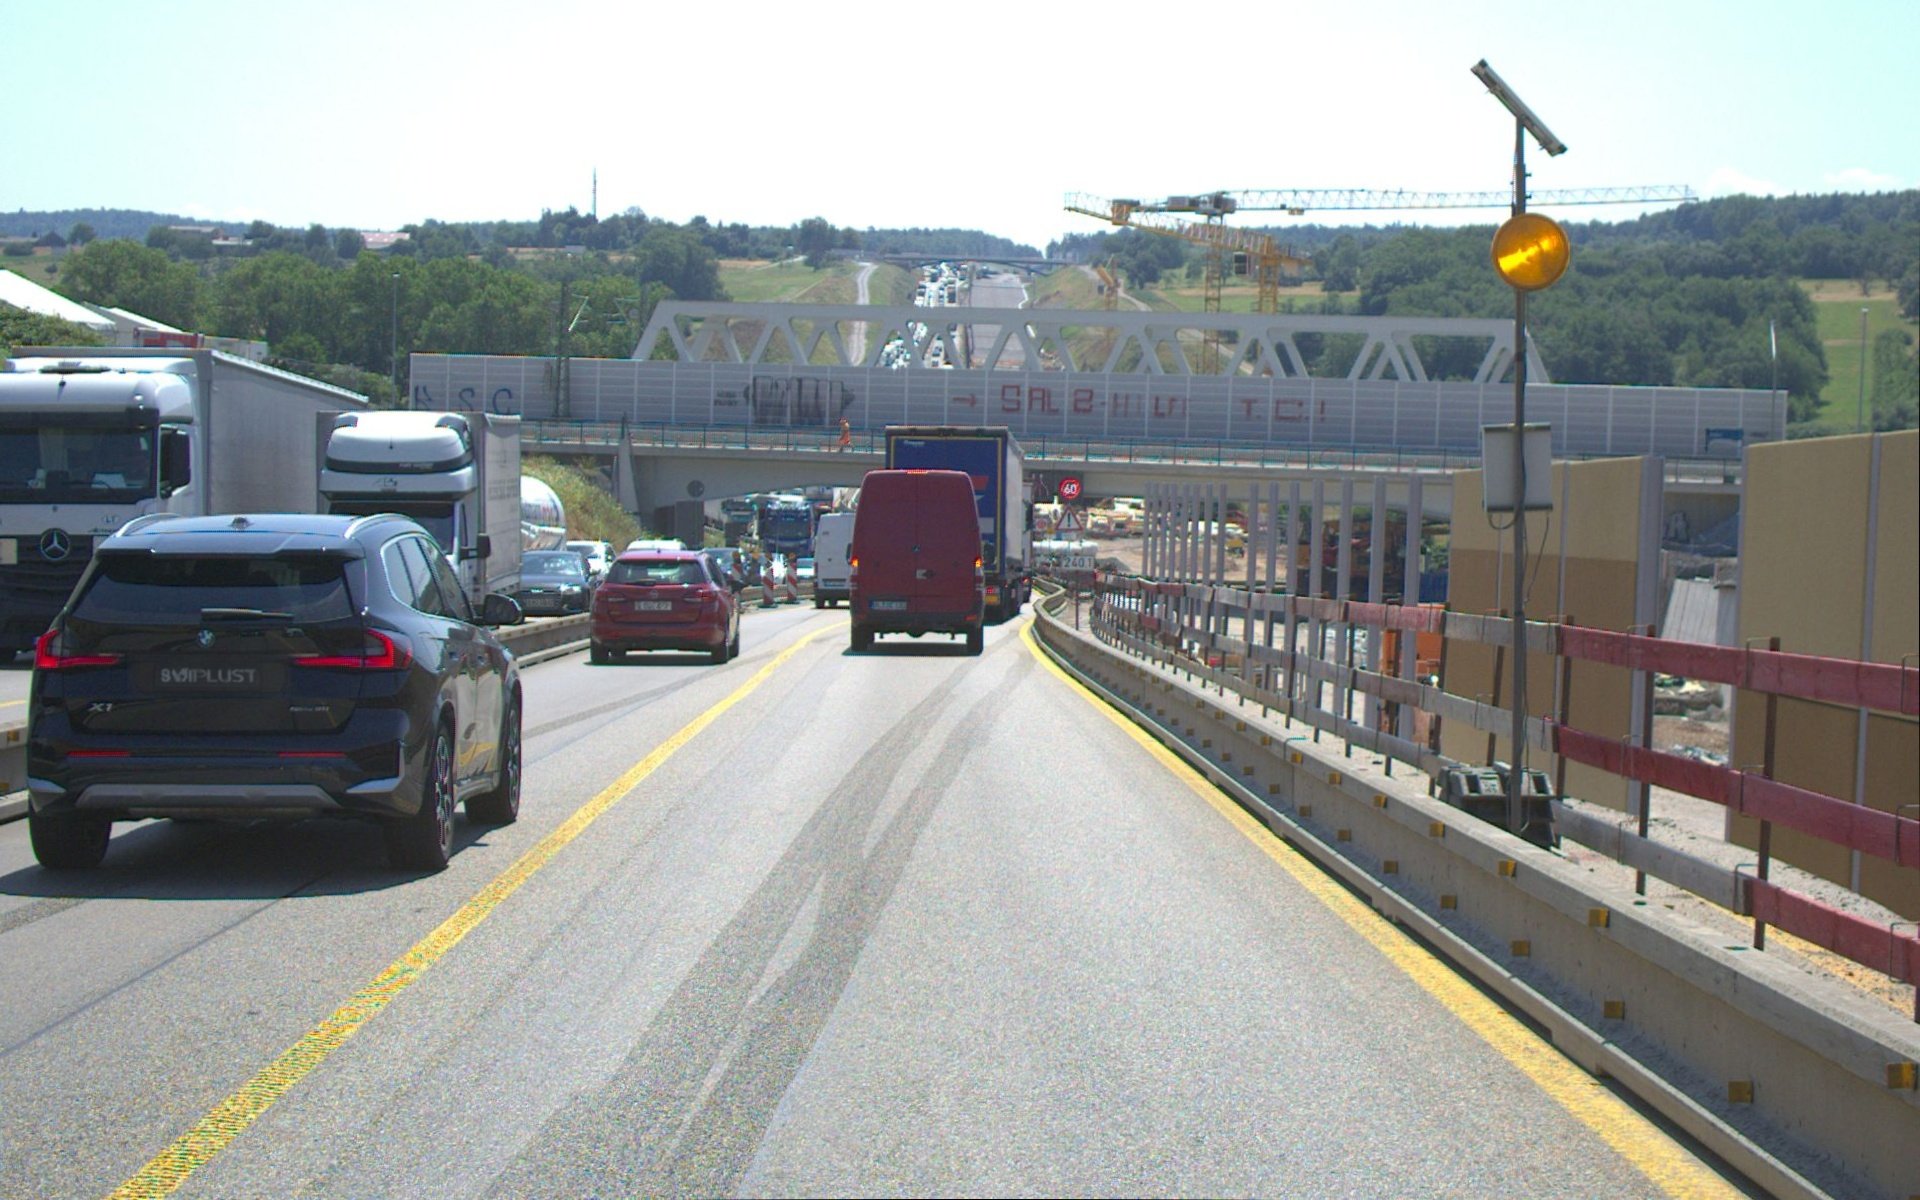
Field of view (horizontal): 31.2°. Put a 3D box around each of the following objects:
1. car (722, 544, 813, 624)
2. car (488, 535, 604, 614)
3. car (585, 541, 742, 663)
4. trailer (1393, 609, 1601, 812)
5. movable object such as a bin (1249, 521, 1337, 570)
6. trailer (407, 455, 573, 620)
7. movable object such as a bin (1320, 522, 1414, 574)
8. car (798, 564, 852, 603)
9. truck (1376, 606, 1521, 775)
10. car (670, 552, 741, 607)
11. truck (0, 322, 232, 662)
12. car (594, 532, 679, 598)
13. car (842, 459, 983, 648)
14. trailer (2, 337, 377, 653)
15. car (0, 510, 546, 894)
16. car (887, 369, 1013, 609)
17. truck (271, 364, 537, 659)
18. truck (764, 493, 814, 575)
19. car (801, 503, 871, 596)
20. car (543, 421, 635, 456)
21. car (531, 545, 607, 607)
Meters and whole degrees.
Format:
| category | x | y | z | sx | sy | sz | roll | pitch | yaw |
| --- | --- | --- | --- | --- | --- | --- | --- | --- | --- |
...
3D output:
| category | x | y | z | sx | sy | sz | roll | pitch | yaw |
| --- | --- | --- | --- | --- | --- | --- | --- | --- | --- |
| car | -4.148 | -0.369 | 74.721 | 1.839 | 1.648 | 4.165 | 0 | 1 | -1 |
| car | -8.119 | -0.517 | 67.753 | 1.779 | 1.453 | 4.721 | 1 | 1 | -1 |
| car | -3.874 | -0.010 | 45.465 | 1.776 | 1.512 | 4.206 | 0 | 1 | -1 |
| trailer | 11.967 | 2.303 | 77.872 | 2.758 | 3.873 | 13.049 | 1 | 1 | 1 |
| movable object such as a bin | 19.842 | -3.230 | 205.147 | 5.147 | 2.798 | 2.142 | 1 | 1 | 5 |
| trailer | -11.650 | -1.575 | 86.258 | 2.590 | 3.788 | 11.918 | 1 | 1 | -1 |
| movable object such as a bin | 22.813 | -2.901 | 192.864 | 5.147 | 2.798 | 2.142 | 1 | 1 | 5 |
| car | -5.327 | -0.662 | 135.913 | 1.800 | 1.442 | 4.637 | 1 | 1 | 2 |
| truck | 12.061 | 2.164 | 85.344 | 2.758 | 3.873 | 5.882 | 1 | 1 | 1 |
| car | -7.765 | -0.650 | 105.192 | 1.791 | 1.606 | 4.733 | 1 | 1 | 0 |
| truck | -10.926 | -1.343 | 43.263 | 2.698 | 4.036 | 3.955 | 1 | 1 | -1 |
| car | -8.749 | -0.977 | 93.289 | 1.880 | 1.739 | 4.483 | 0 | 1 | 0 |
| car | -0.713 | -0.712 | 51.540 | 1.988 | 2.681 | 4.624 | 0 | 1 | -1 |
| trailer | -11.096 | -1.486 | 51.170 | 2.698 | 4.011 | 13.703 | 1 | 1 | -1 |
| car | -3.202 | 0.386 | 16.762 | 1.879 | 1.612 | 4.499 | 0 | 1 | -1 |
| car | -0.283 | -2.427 | 77.131 | 2.621 | 5.015 | 10.397 | 0 | 1 | -1 |
| truck | -7.624 | -1.207 | 47.994 | 2.589 | 3.745 | 7.359 | 1 | 1 | -1 |
| truck | -8.468 | -3.287 | 170.986 | 2.357 | 4.001 | 4.001 | 1 | 1 | -2 |
| car | -3.333 | -1.367 | 92.757 | 1.776 | 2.433 | 4.206 | 0 | 1 | -1 |
| car | -20.219 | -8.810 | 187.228 | 4.556 | 1.777 | 1.959 | 1 | 1 | 13 |
| car | -11.439 | -0.716 | 100.801 | 1.790 | 1.757 | 4.538 | 0 | 1 | -1 |
